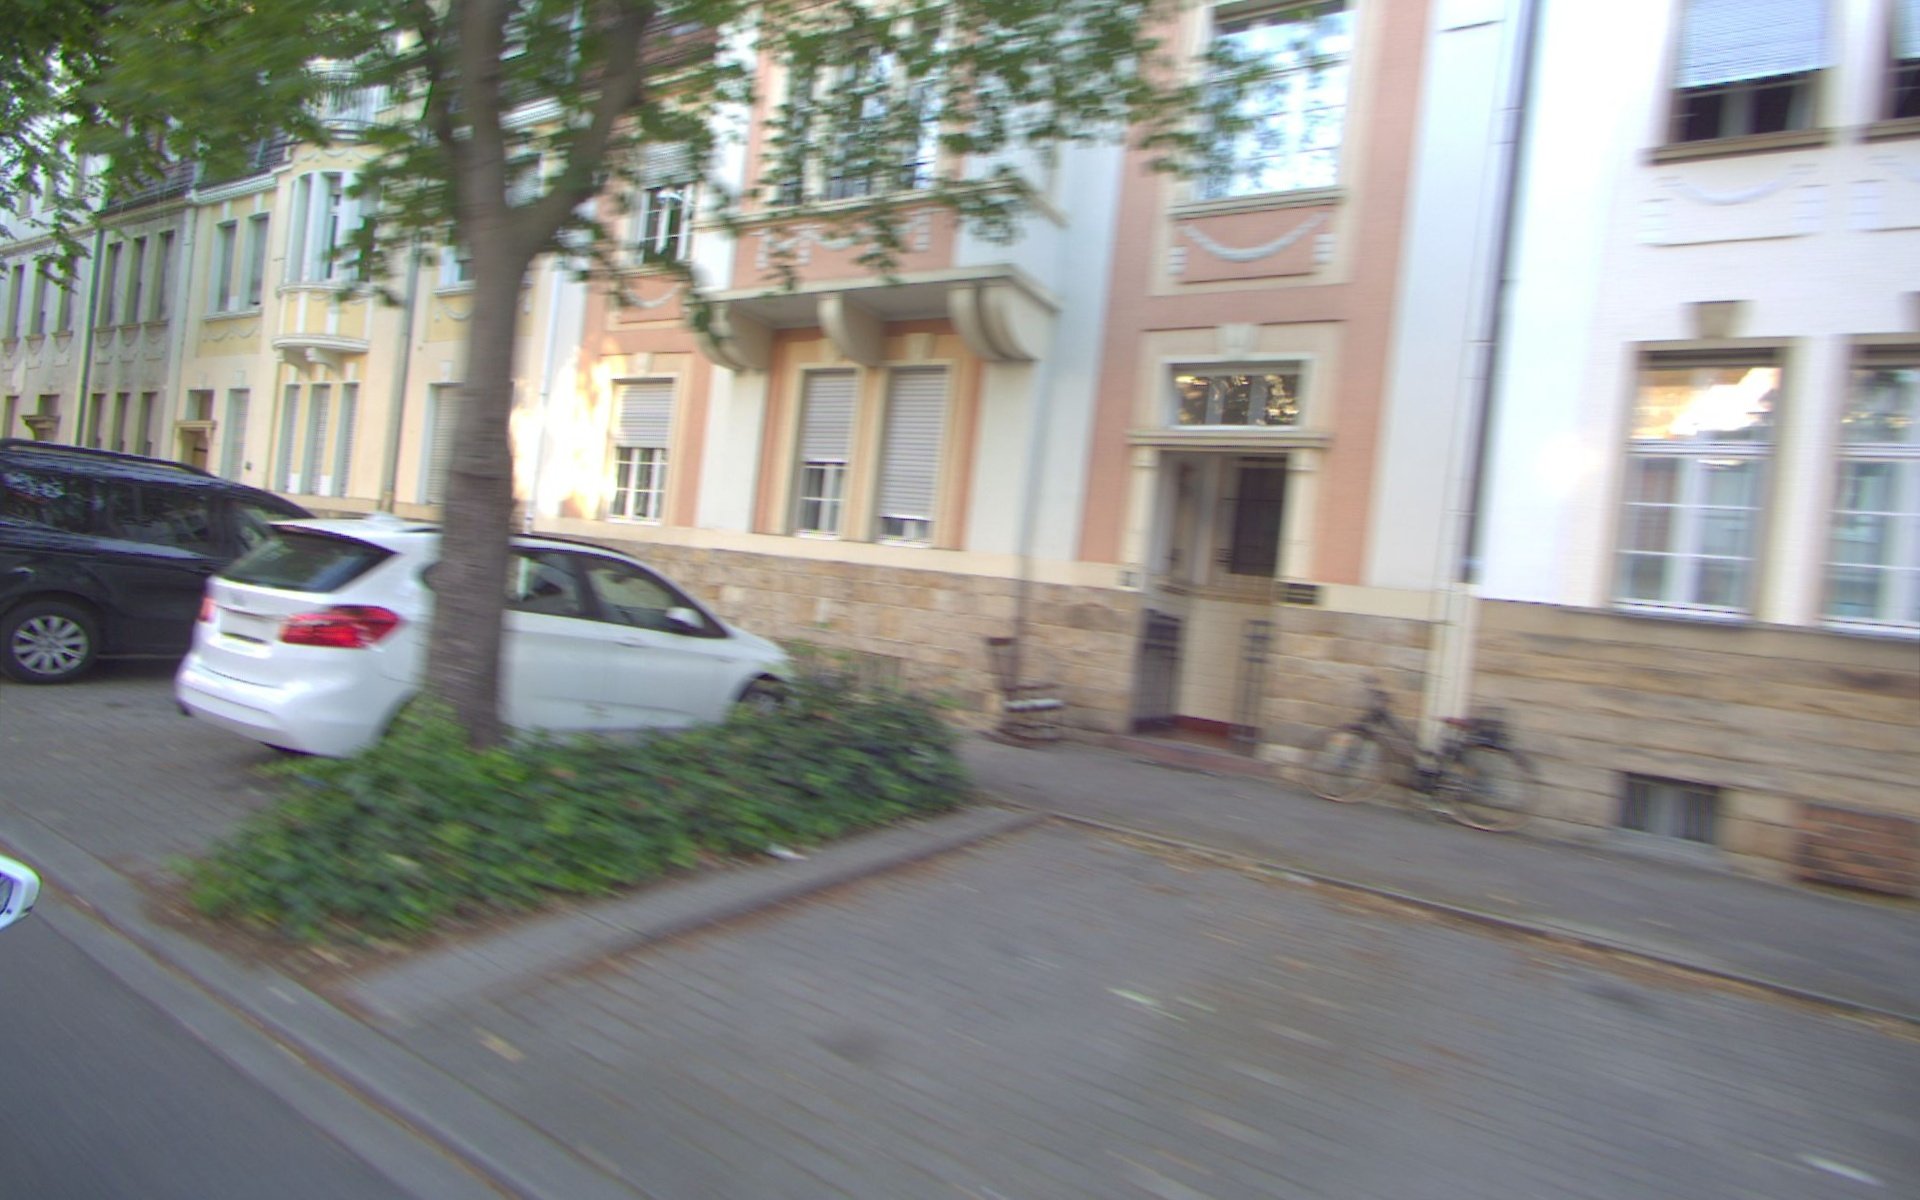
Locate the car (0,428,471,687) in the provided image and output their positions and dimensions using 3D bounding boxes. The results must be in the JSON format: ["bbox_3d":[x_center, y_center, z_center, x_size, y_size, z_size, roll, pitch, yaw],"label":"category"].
[{"bbox_3d":[-7.128,-0.315,9.346,1.873,1.920,4.225,7,1,30],"label":"car"}]

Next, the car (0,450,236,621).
[{"bbox_3d":[-13.026,-0.986,13.326,2.037,2.013,5.063,7,-1,29],"label":"car"}]

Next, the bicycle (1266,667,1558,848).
[{"bbox_3d":[3.613,1.211,8.152,2.011,1.070,0.474,7,2,31],"label":"bicycle"}]

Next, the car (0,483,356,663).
[{"bbox_3d":[-9.049,-0.301,10.451,1.845,1.559,4.296,7,-1,29],"label":"car"}]

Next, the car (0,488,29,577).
[{"bbox_3d":[-19.011,-1.468,17.060,1.866,1.559,4.296,7,-1,29],"label":"car"}]

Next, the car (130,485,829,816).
[{"bbox_3d":[-3.030,0.304,7.244,1.846,1.591,4.113,7,1,32],"label":"car"}]

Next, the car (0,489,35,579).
[{"bbox_3d":[-17.400,-1.272,15.456,1.845,1.435,4.294,7,1,29],"label":"car"}]
